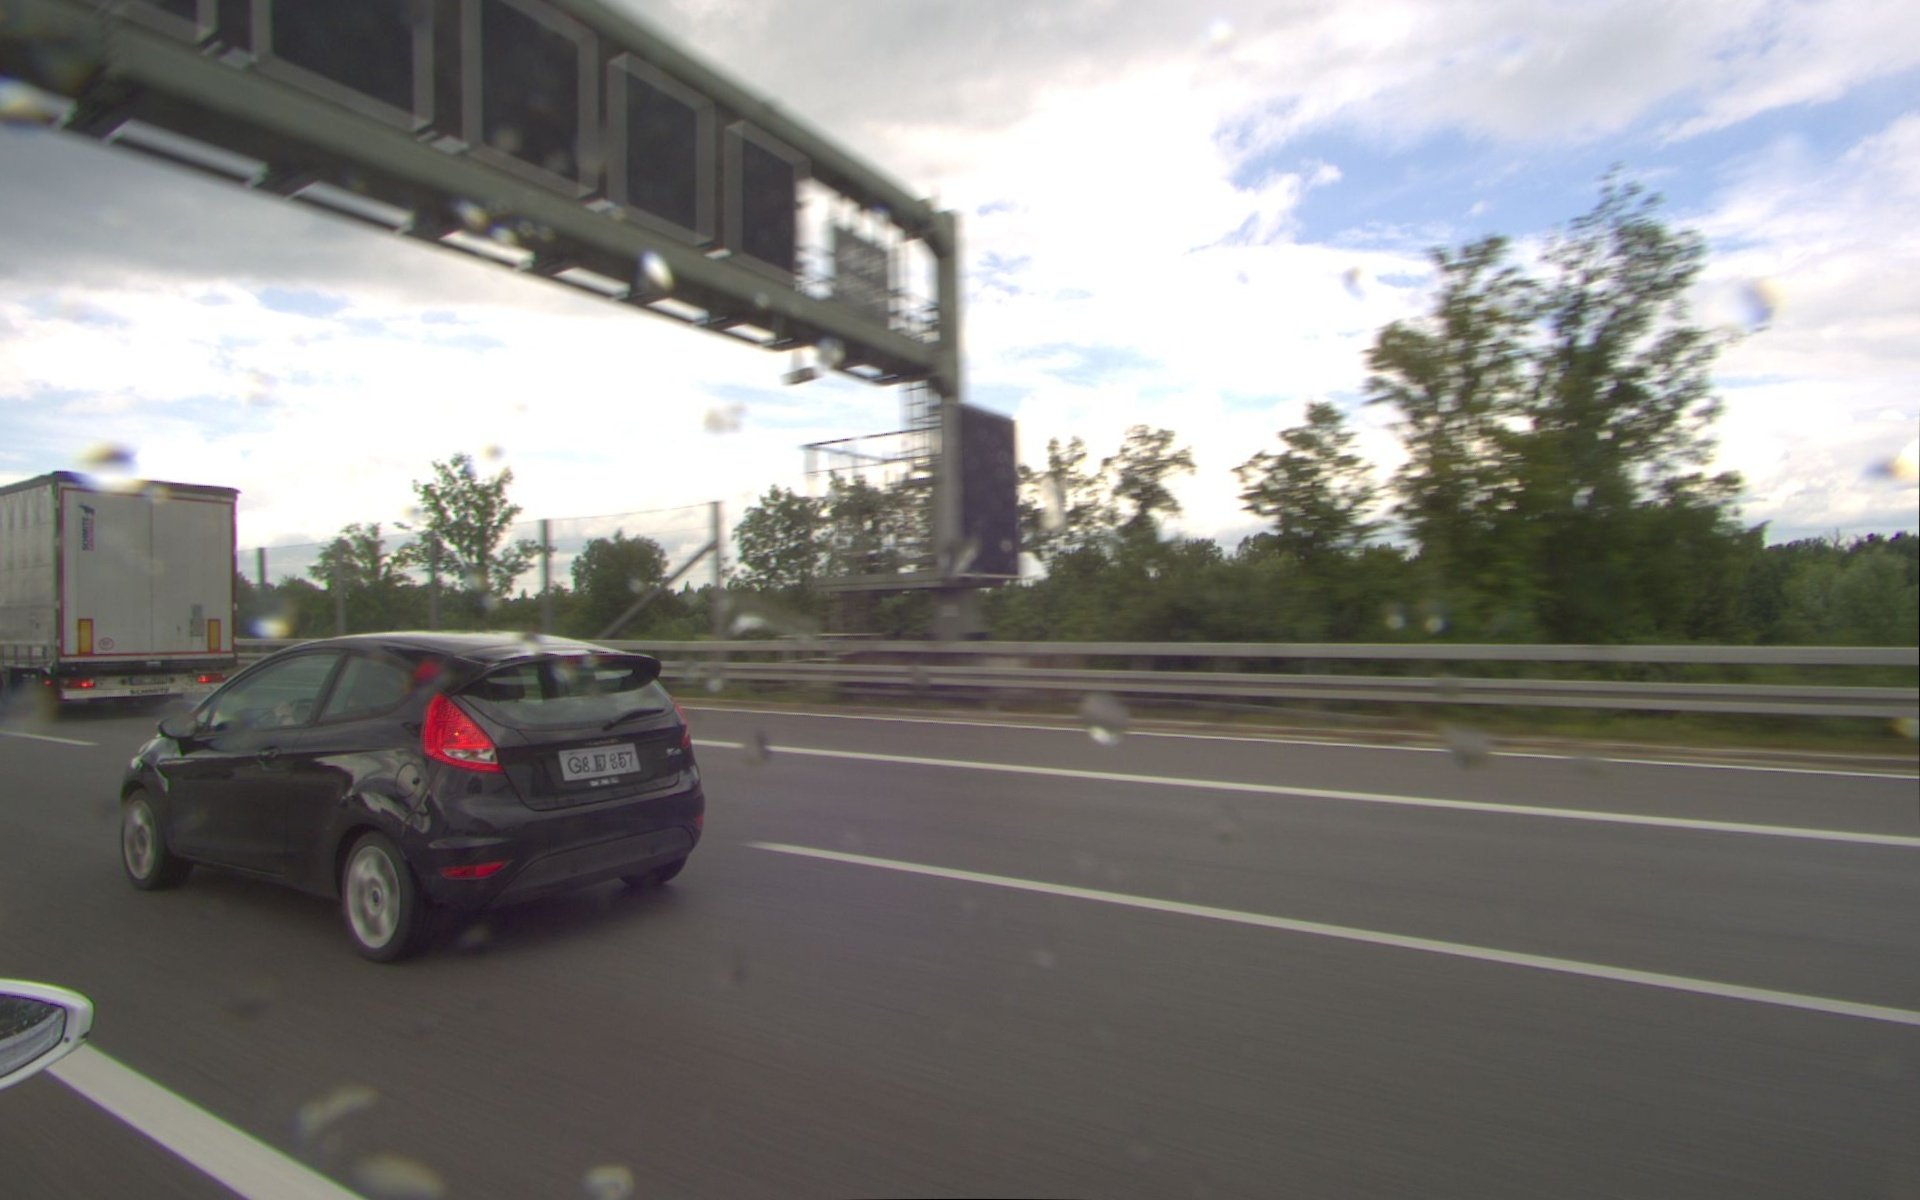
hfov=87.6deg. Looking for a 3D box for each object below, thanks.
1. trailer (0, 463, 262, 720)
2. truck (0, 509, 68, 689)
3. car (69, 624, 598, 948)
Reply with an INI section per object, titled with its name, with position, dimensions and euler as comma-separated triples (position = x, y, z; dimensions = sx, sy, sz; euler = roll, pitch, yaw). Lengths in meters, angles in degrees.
[trailer]
position = -19.485, -0.053, 20.906
dimensions = 13.916, 4.072, 2.956
euler = 0, -1, 33
[truck]
position = -24.683, -0.006, 24.259
dimensions = 6.494, 4.072, 2.956
euler = 0, -1, 32
[car]
position = -3.790, 0.876, 5.975
dimensions = 3.117, 1.460, 1.445
euler = -1, -1, 31
